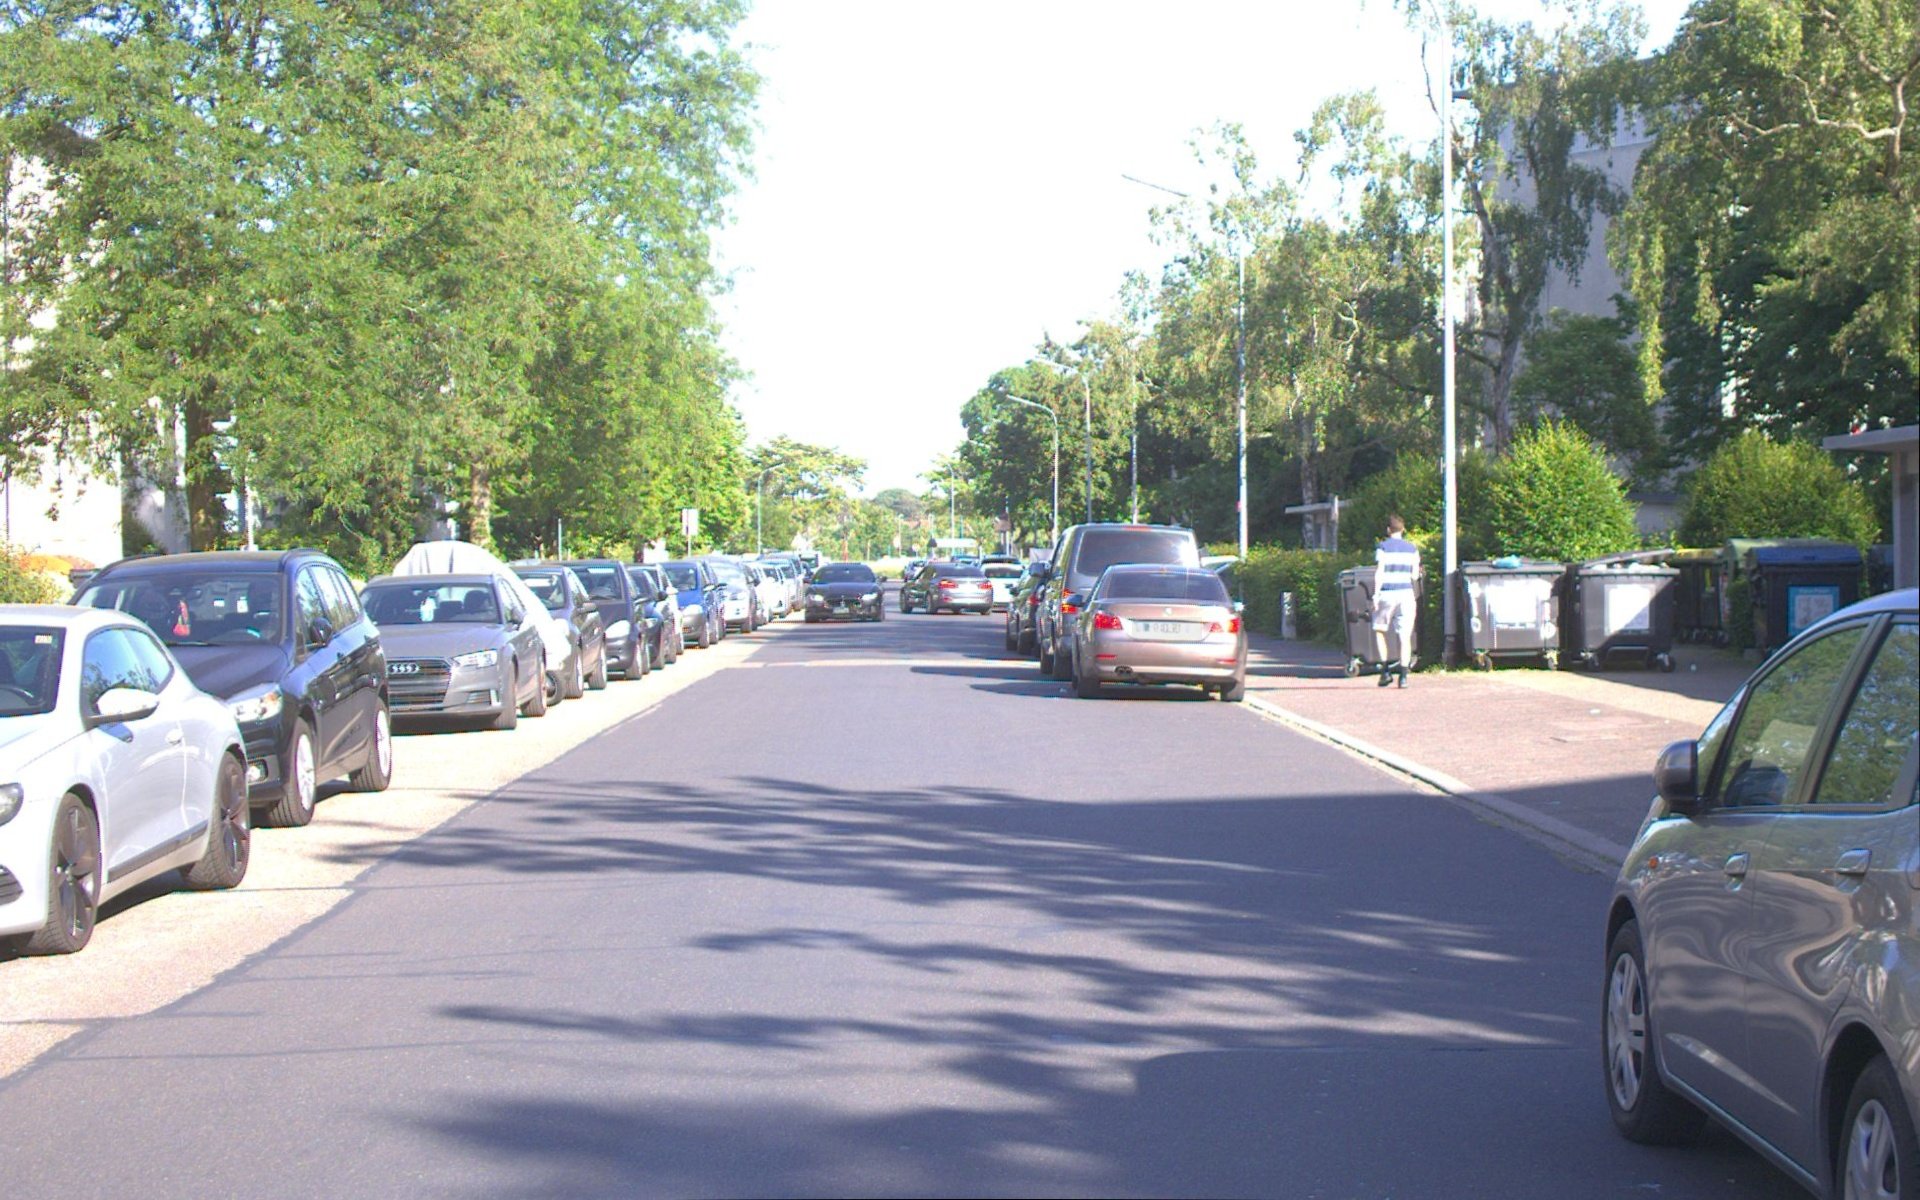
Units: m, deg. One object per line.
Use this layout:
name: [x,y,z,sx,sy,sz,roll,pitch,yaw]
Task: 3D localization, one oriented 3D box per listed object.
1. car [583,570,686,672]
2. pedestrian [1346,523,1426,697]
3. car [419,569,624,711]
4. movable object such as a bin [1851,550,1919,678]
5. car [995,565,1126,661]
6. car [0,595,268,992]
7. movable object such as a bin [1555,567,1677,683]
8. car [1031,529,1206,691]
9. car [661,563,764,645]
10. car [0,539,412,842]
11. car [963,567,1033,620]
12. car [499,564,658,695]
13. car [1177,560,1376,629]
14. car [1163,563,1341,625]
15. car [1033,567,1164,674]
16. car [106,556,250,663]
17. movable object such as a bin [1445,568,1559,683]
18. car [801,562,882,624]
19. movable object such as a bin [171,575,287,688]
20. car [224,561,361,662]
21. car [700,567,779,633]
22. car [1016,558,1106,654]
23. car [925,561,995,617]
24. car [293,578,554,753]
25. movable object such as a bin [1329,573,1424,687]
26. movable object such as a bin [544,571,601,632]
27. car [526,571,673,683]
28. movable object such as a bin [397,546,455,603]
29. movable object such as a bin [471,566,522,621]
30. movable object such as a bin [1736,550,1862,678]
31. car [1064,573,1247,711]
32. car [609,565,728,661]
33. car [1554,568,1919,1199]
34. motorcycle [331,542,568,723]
car: [-5.321,0.327,56.465,1.444,1.569,3.142,-2,1,-2]
pedestrian: [4.724,0.107,38.165,0.703,1.882,0.872,-2,0,0]
car: [-5.005,0.422,39.674,1.754,1.476,3.959,-2,1,1]
movable object such as a bin: [11.545,0.161,41.557,1.276,1.461,1.133,0,4,3]
car: [1.611,0.183,56.495,1.731,1.485,4.502,-1,1,-3]
car: [-4.267,0.728,14.429,1.754,1.420,4.210,-2,0,1]
movable object such as a bin: [7.797,0.291,40.926,1.276,1.360,1.133,0,0,3]
car: [1.964,0.101,43.871,1.852,1.928,4.705,1,0,-2]
car: [-5.207,0.056,72.833,1.903,1.634,4.349,-1,1,-1]
car: [-4.644,0.490,21.470,1.754,1.630,4.370,-2,1,-1]
car: [1.115,-0.211,101.998,1.753,1.508,4.105,1,0,-3]
car: [-4.968,0.356,45.138,1.754,1.569,3.720,-2,1,-2]
car: [7.428,-0.136,80.954,4.513,1.508,1.829,-1,1,1]
car: [7.554,-0.167,89.163,4.415,1.508,1.829,-1,1,0]
car: [1.998,0.272,50.609,1.623,1.485,4.036,1,0,-2]
car: [-12.518,0.127,55.228,1.570,1.635,4.000,1,0,-3]
movable object such as a bin: [6.502,0.297,41.307,1.224,1.360,1.133,0,0,3]
car: [-2.892,-0.194,84.771,1.910,1.471,4.571,-1,1,-1]
movable object such as a bin: [-9.250,0.390,43.560,1.177,1.403,1.343,0,1,0]
car: [-10.561,0.158,54.587,1.570,1.520,4.000,1,0,-3]
car: [-5.333,-0.020,82.905,1.662,1.508,3.539,-1,1,-7]
car: [1.856,0.093,63.743,1.488,1.712,2.583,1,0,-1]
car: [-0.020,-0.330,96.876,1.679,1.508,4.105,1,0,-3]
car: [-4.871,0.549,31.753,1.754,1.416,4.269,-2,1,-1]
movable object such as a bin: [5.125,0.357,42.243,1.026,1.305,1.386,-3,0,9]
movable object such as a bin: [-9.148,0.023,81.207,1.136,1.378,1.442,2,1,1]
car: [-5.185,0.359,49.912,1.754,1.476,4.538,-2,1,-2]
movable object such as a bin: [-13.822,-0.657,89.017,1.177,1.416,1.462,2,1,1]
movable object such as a bin: [-12.484,-0.173,92.615,1.134,1.416,1.361,2,1,1]
movable object such as a bin: [10.157,0.162,41.661,1.276,1.461,1.133,0,4,3]
car: [2.113,0.420,38.244,1.801,1.414,4.636,1,0,1]
car: [-5.220,0.207,61.911,1.754,1.600,3.969,-2,1,0]
car: [2.558,0.680,7.713,1.804,1.489,3.795,0,1,0]
motorcycle: [-5.215,0.323,35.252,2.256,1.721,0.932,-3,0,-3]
